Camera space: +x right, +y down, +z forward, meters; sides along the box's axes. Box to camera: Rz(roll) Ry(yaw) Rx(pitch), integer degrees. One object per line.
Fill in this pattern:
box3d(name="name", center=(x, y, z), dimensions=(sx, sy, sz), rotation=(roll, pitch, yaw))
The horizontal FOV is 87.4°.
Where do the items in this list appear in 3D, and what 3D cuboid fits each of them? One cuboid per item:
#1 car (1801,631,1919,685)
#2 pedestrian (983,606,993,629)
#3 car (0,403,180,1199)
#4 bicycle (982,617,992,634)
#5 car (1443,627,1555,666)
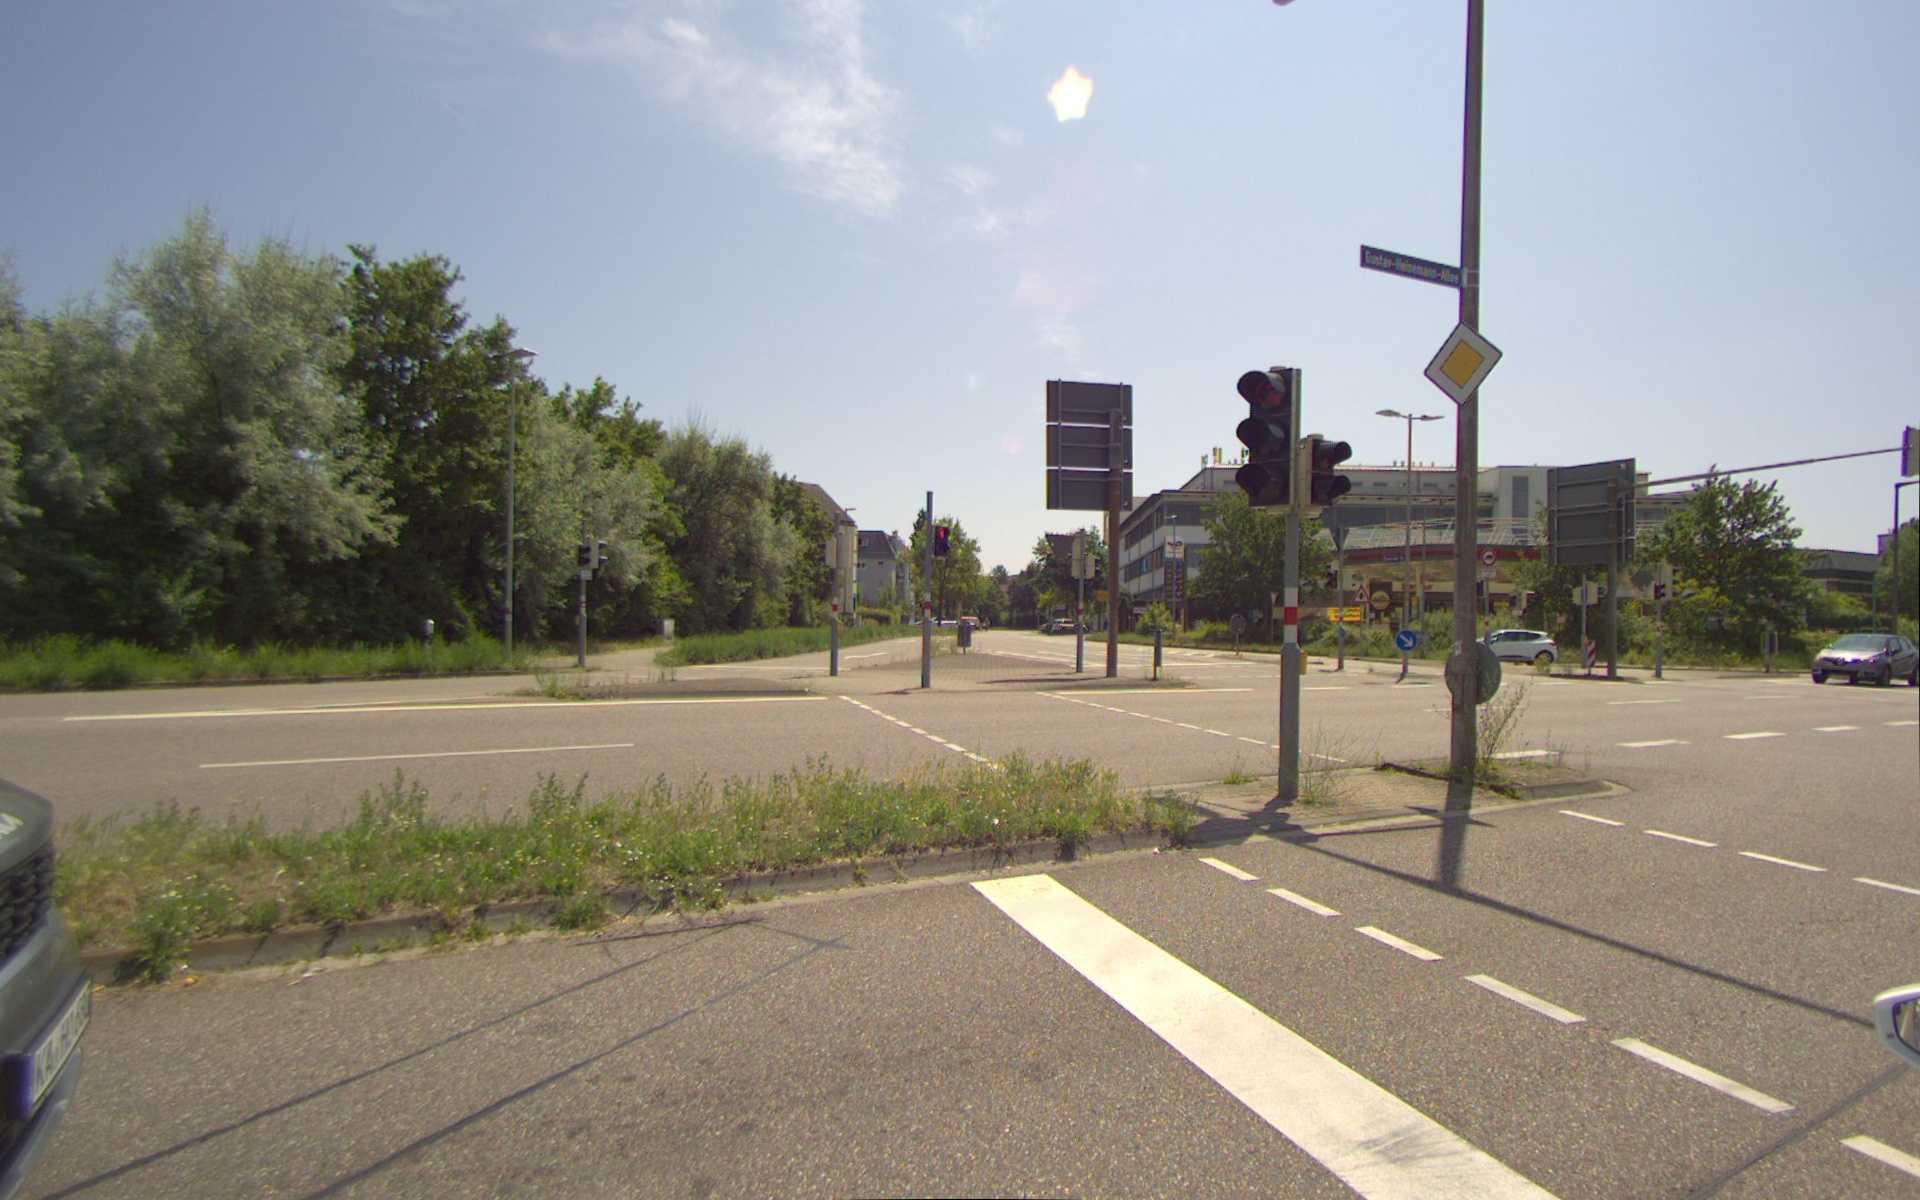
box3d(name="car", center=(28.031, 1.778, 31.270), dimensions=(3.954, 1.560, 1.650), rotation=(2, -1, -31))
box3d(name="pedestrian", center=(3.391, 2.081, 121.499), dimensions=(0.864, 2.751, 1.518), rotation=(2, 0, 8))
box3d(name="car", center=(-3.684, 0.497, 0.893), dimensions=(4.480, 1.690, 1.771), rotation=(2, -1, -31))
box3d(name="bicycle", center=(3.305, 3.104, 121.351), dimensions=(0.876, 2.040, 3.196), rotation=(1, -1, 6))
box3d(name="car", center=(22.410, 1.928, 41.879), dimensions=(3.750, 1.468, 1.830), rotation=(1, -1, 14))
